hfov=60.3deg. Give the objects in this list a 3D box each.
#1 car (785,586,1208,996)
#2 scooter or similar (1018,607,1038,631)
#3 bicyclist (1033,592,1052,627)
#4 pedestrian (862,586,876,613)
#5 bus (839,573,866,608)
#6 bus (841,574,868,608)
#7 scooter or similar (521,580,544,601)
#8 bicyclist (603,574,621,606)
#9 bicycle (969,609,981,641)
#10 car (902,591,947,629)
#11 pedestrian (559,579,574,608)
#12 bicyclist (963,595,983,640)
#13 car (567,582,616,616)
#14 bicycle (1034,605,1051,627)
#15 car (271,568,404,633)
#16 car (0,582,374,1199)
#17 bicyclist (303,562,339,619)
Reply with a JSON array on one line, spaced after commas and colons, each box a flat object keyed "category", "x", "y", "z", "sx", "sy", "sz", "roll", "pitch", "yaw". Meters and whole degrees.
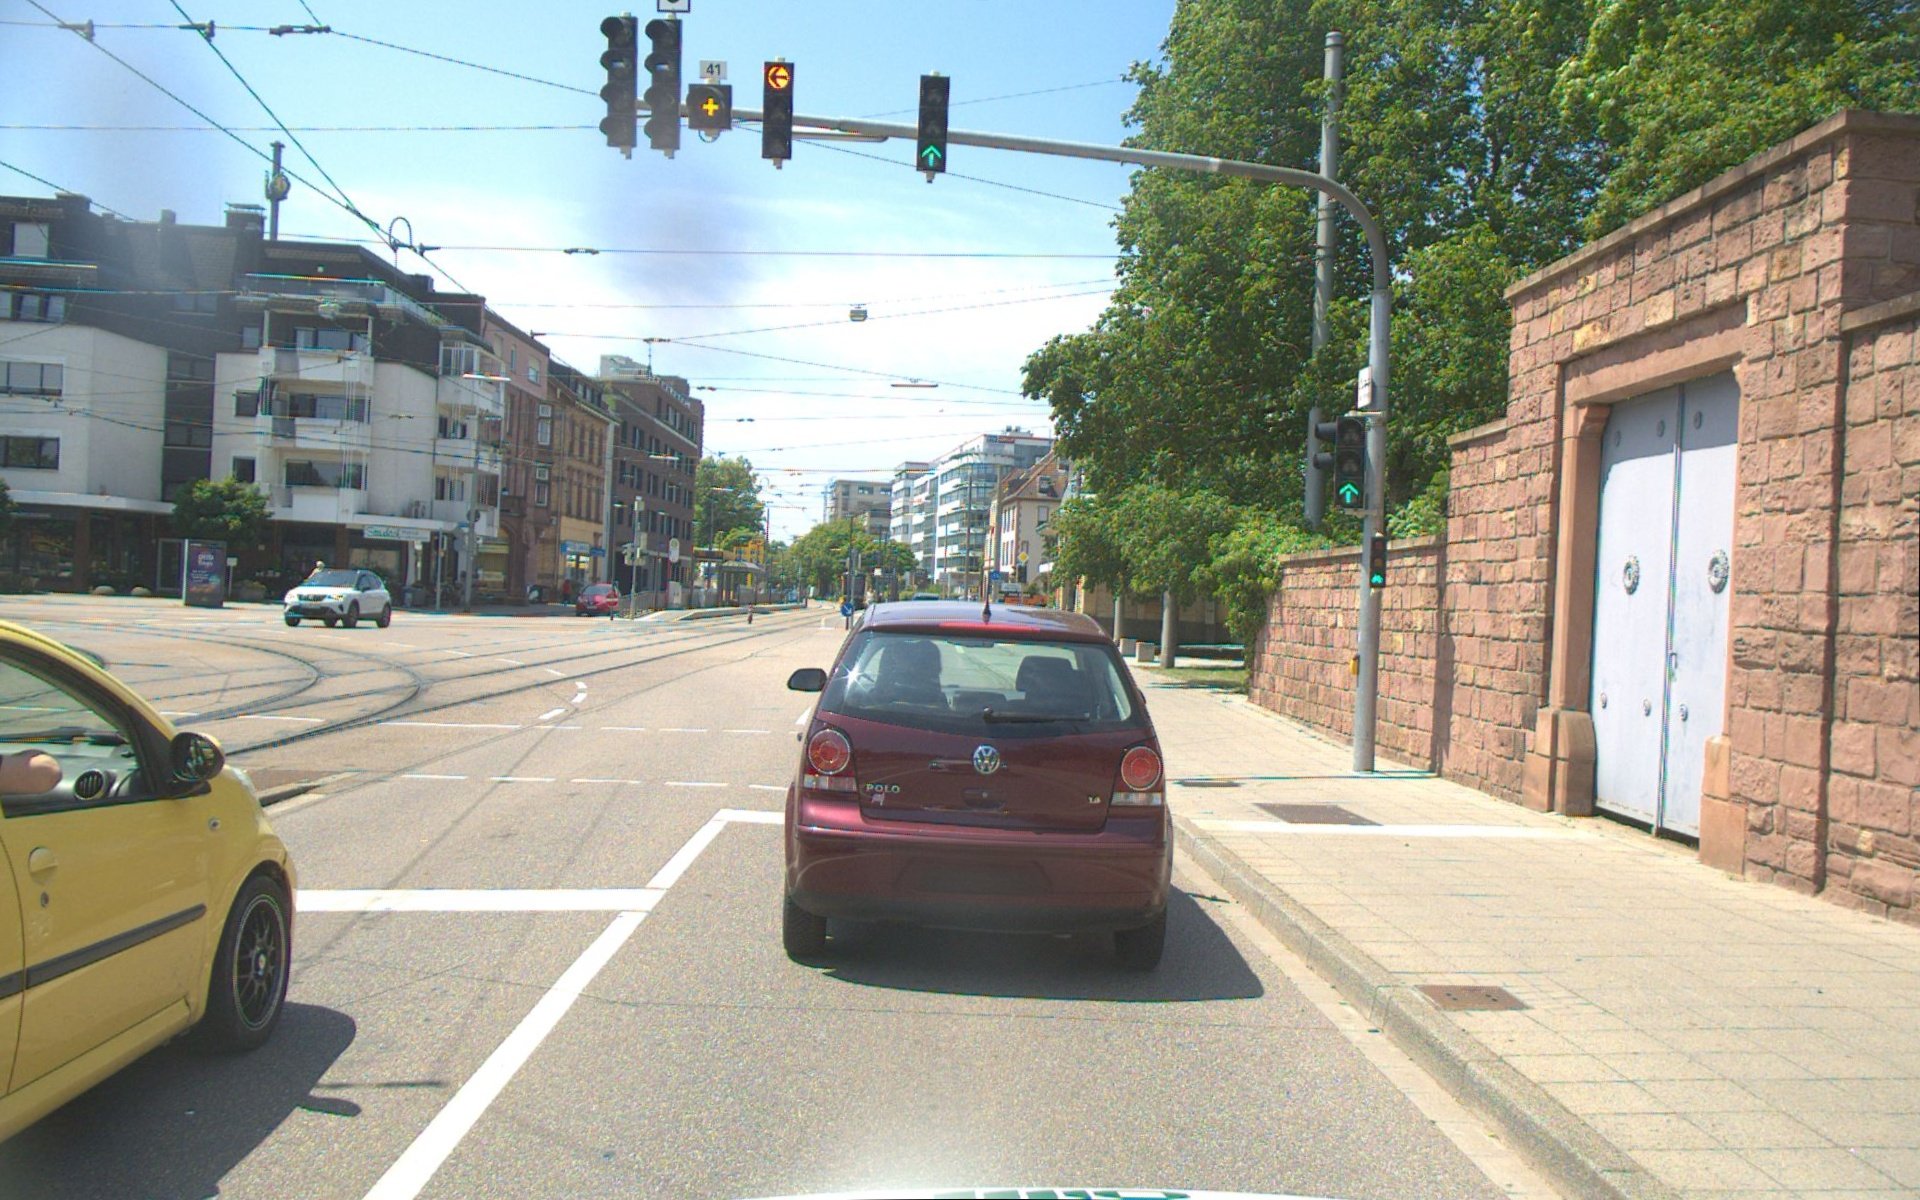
[{"category": "car", "x": 0.094, "y": 0.714, "z": 7.712, "sx": 1.530, "sy": 1.479, "sz": 3.060, "roll": 2, "pitch": 0, "yaw": -2}, {"category": "scooter or similar", "x": 3.465, "y": 0.956, "z": 84.048, "sx": 0.335, "sy": 1.198, "sz": 1.456, "roll": 2, "pitch": 0, "yaw": -25}, {"category": "bicyclist", "x": 4.010, "y": 0.458, "z": 80.564, "sx": 0.815, "sy": 1.646, "sz": 0.860, "roll": -2, "pitch": 0, "yaw": -1}, {"category": "pedestrian", "x": -5.884, "y": -0.007, "z": 106.805, "sx": 0.747, "sy": 1.704, "sz": 1.100, "roll": 2, "pitch": 0, "yaw": -1}, {"category": "bus", "x": -9.816, "y": -0.887, "z": 151.398, "sx": 2.101, "sy": 3.055, "sz": 6.571, "roll": 2, "pitch": 0, "yaw": -2}, {"category": "bus", "x": -10.015, "y": -0.859, "z": 157.967, "sx": 2.188, "sy": 3.055, "sz": 6.591, "roll": 2, "pitch": 0, "yaw": -2}, {"category": "scooter or similar", "x": -23.659, "y": -0.530, "z": 91.561, "sx": 0.477, "sy": 1.101, "sz": 1.578, "roll": 2, "pitch": 0, "yaw": 15}, {"category": "bicyclist", "x": -19.956, "y": -0.558, "z": 94.911, "sx": 0.717, "sy": 1.793, "sz": 1.134, "roll": 2, "pitch": 0, "yaw": -1}, {"category": "bicycle", "x": 0.627, "y": 1.012, "z": 67.772, "sx": 0.368, "sy": 1.218, "sz": 1.904, "roll": 2, "pitch": 0, "yaw": -2}, {"category": "car", "x": -1.710, "y": 0.458, "z": 77.822, "sx": 1.954, "sy": 1.653, "sz": 4.629, "roll": 2, "pitch": 0, "yaw": -2}, {"category": "pedestrian", "x": -21.938, "y": -0.367, "z": 92.211, "sx": 0.602, "sy": 1.588, "sz": 0.640, "roll": 2, "pitch": 0, "yaw": -2}, {"category": "bicyclist", "x": 0.549, "y": 0.713, "z": 67.845, "sx": 0.712, "sy": 1.791, "sz": 0.923, "roll": 2, "pitch": 0, "yaw": -2}, {"category": "car", "x": -17.604, "y": -0.041, "z": 79.167, "sx": 1.591, "sy": 1.509, "sz": 3.827, "roll": 2, "pitch": 0, "yaw": -2}, {"category": "bicycle", "x": 4.005, "y": 0.778, "z": 80.468, "sx": 0.655, "sy": 1.020, "sz": 1.863, "roll": -2, "pitch": 0, "yaw": -1}, {"category": "car", "x": -16.486, "y": 0.009, "z": 44.019, "sx": 1.953, "sy": 1.580, "sz": 4.138, "roll": 2, "pitch": 0, "yaw": -1}, {"category": "car", "x": -2.889, "y": 0.688, "z": 4.224, "sx": 1.583, "sy": 1.446, "sz": 3.654, "roll": 0, "pitch": 0, "yaw": -2}, {"category": "bicyclist", "x": -20.628, "y": -0.324, "z": 53.410, "sx": 0.680, "sy": 1.796, "sz": 1.137, "roll": 2, "pitch": 1, "yaw": -2}]
